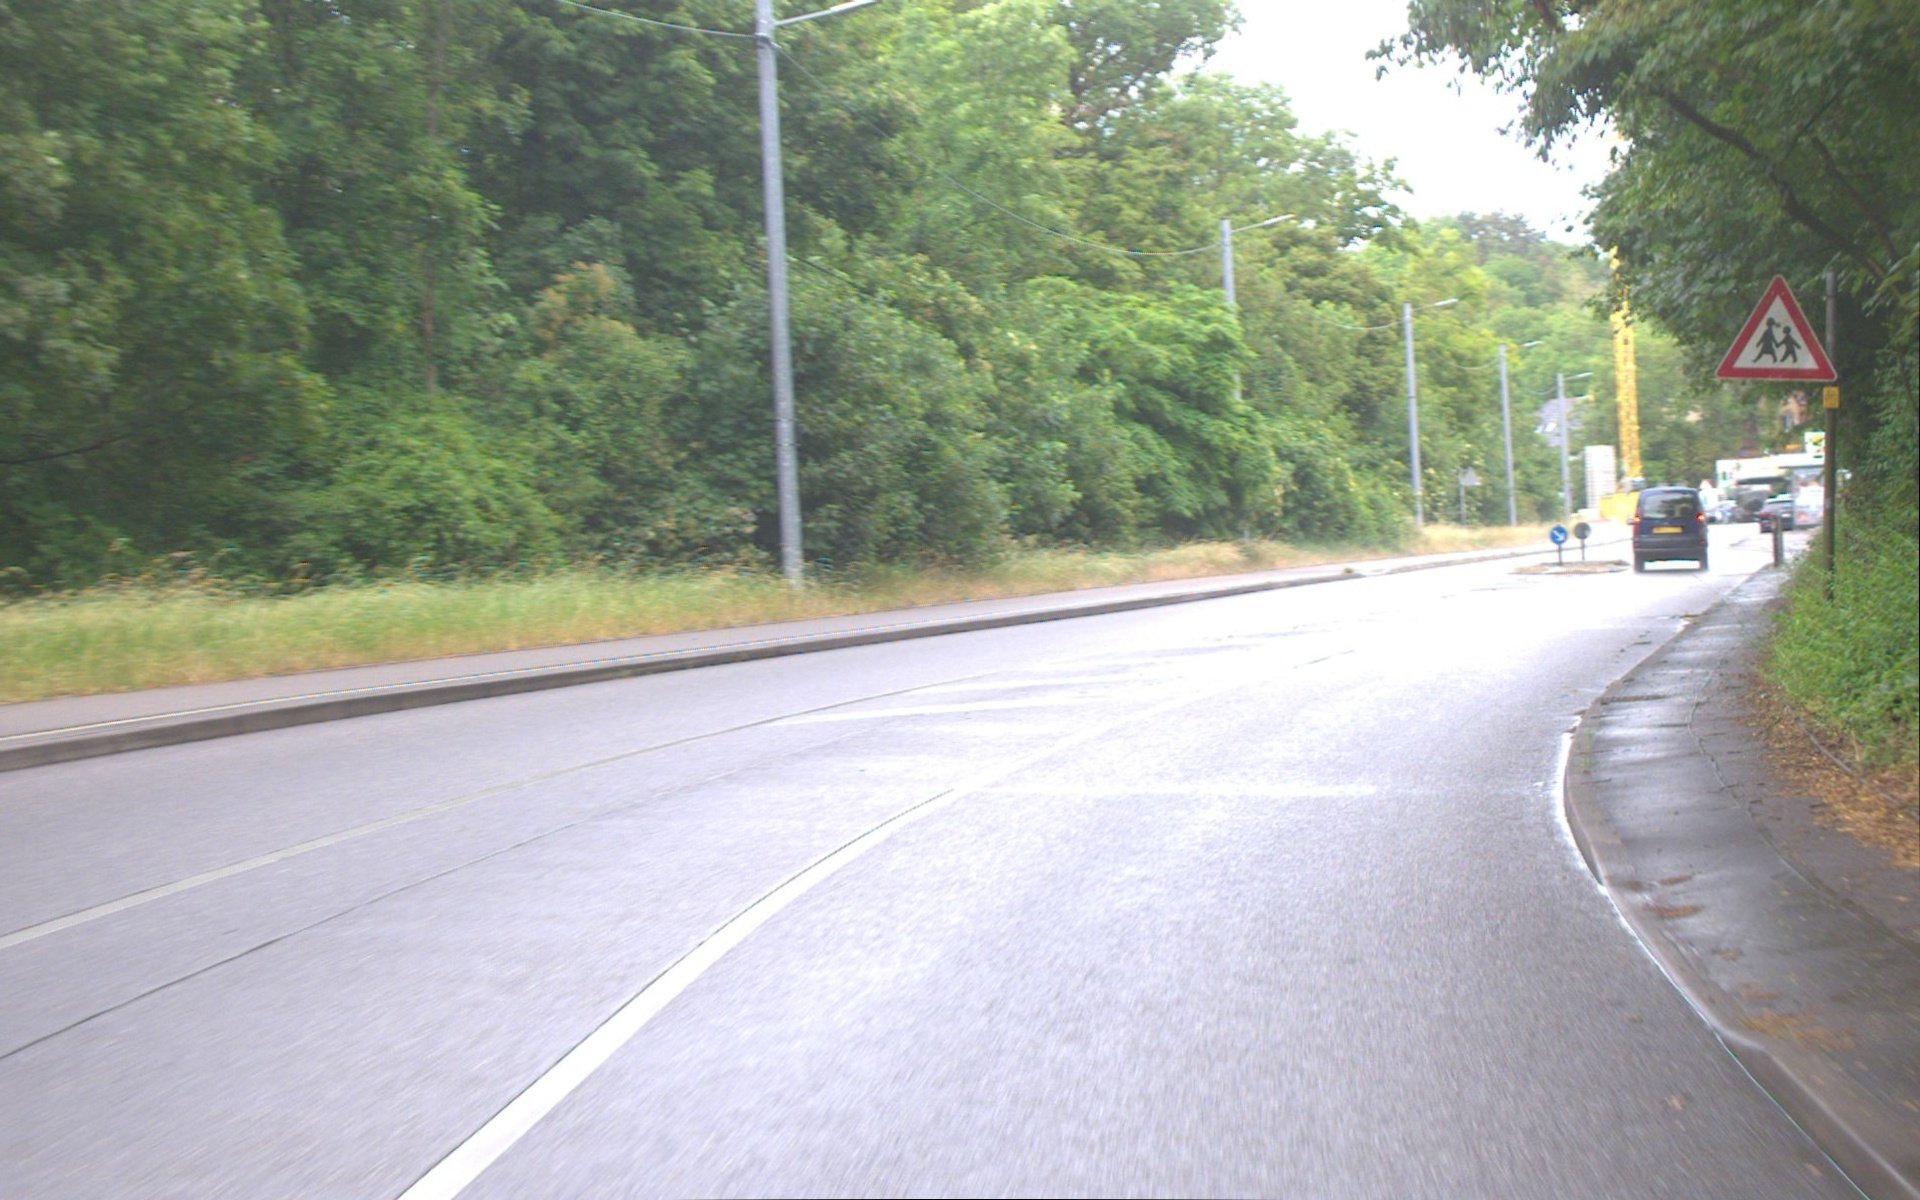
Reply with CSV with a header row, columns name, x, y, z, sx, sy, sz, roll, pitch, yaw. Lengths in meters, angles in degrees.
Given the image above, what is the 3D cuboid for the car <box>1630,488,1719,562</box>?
name,x,y,z,sx,sy,sz,roll,pitch,yaw
car,15.922,-1.679,76.534,1.669,1.588,3.680,-1,1,16

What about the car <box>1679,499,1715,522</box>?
name,x,y,z,sx,sy,sz,roll,pitch,yaw
car,50.893,-6.180,237.560,1.740,1.546,3.856,0,1,1

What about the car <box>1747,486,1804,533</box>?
name,x,y,z,sx,sy,sz,roll,pitch,yaw
car,31.789,-3.530,133.933,1.995,1.766,4.112,0,1,15
